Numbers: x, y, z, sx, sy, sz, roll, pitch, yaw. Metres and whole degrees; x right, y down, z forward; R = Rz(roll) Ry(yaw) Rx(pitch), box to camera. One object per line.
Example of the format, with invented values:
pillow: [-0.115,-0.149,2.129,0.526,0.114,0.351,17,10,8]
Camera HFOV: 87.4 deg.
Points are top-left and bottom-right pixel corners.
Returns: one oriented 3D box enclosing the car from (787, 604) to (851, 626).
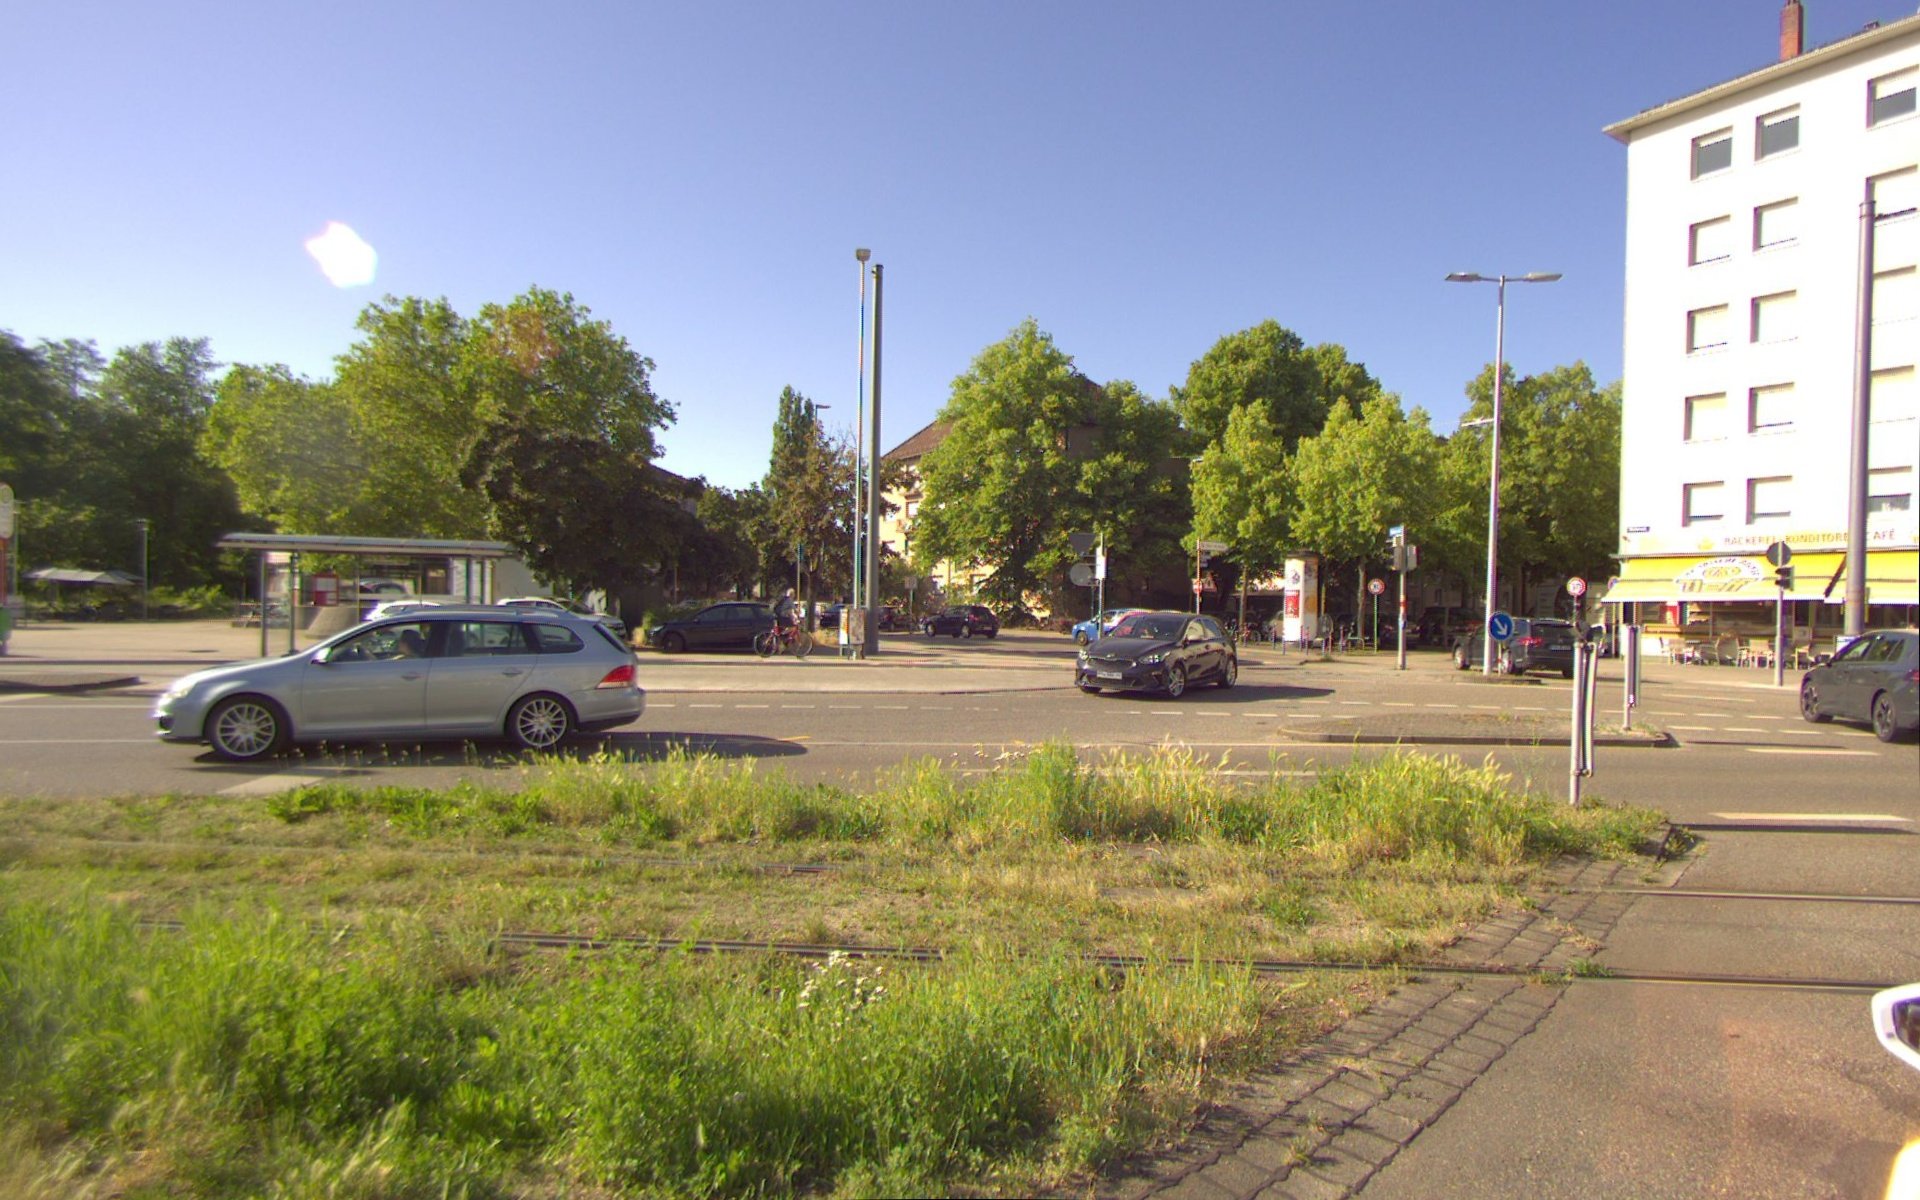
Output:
car: [-9.634,1.026,68.574,3.919,1.356,1.807,1,0,12]

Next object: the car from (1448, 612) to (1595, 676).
car: [14.846,1.103,26.834,1.730,1.506,4.295,1,0,4]

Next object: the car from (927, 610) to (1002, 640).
car: [0.180,1.119,45.965,1.679,1.270,3.591,1,0,-34]

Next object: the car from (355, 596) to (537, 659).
car: [-14.601,0.745,28.626,4.457,1.565,1.873,1,3,13]

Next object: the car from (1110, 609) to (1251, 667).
car: [6.382,1.070,29.579,1.731,1.508,4.517,1,0,-24]

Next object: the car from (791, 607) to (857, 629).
car: [-8.927,1.182,66.008,3.919,1.356,1.807,1,0,12]

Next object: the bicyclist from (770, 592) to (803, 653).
bicyclist: [-4.510,0.568,26.104,0.668,1.551,0.609,0,2,-30]

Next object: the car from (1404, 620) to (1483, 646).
car: [25.091,1.710,52.234,3.373,1.206,1.669,1,0,12]

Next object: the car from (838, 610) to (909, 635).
car: [-5.183,1.339,60.436,3.919,1.356,1.807,1,0,12]

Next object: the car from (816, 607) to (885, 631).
car: [-6.852,1.185,63.235,3.919,1.356,1.807,1,0,12]

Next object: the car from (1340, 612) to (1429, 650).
car: [18.910,1.364,44.810,1.655,1.623,3.273,1,-1,-36]

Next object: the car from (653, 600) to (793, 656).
car: [-7.022,0.819,30.079,3.935,1.509,1.761,0,3,-9]

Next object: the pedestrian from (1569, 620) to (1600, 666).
pedestrian: [22.679,1.549,36.472,0.824,1.643,0.784,1,0,-43]

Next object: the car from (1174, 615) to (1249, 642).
car: [12.722,1.412,50.762,3.659,1.310,1.586,1,-1,-30]

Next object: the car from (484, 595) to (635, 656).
car: [-12.212,0.756,30.857,3.923,1.741,1.762,0,3,-3]

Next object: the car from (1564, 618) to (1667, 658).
car: [26.895,1.560,41.211,3.891,1.533,1.928,1,0,-29]

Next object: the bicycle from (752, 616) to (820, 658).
bicycle: [-4.518,0.948,26.104,1.639,1.014,0.609,0,1,-31]

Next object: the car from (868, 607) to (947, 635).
car: [-2.887,1.178,55.494,3.963,1.460,1.898,1,0,-37]

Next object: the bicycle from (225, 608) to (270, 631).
bicycle: [-28.065,0.763,39.577,1.652,0.850,0.548,1,0,17]

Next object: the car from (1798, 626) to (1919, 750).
car: [12.849,1.112,13.482,1.596,1.448,3.684,1,0,26]

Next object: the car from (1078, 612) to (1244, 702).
car: [3.772,0.952,18.328,1.636,1.410,4.140,1,0,31]

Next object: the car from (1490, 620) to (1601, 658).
car: [22.163,1.470,38.021,3.954,1.327,1.984,1,0,-31]

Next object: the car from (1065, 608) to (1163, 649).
car: [5.915,1.059,38.704,3.338,1.457,1.646,1,0,34]

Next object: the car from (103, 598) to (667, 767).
car: [-5.650,0.770,10.582,4.809,1.461,1.726,1,1,-21]

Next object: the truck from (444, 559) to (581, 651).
truck: [-15.838,0.150,35.866,1.959,3.035,4.831,1,0,12]
